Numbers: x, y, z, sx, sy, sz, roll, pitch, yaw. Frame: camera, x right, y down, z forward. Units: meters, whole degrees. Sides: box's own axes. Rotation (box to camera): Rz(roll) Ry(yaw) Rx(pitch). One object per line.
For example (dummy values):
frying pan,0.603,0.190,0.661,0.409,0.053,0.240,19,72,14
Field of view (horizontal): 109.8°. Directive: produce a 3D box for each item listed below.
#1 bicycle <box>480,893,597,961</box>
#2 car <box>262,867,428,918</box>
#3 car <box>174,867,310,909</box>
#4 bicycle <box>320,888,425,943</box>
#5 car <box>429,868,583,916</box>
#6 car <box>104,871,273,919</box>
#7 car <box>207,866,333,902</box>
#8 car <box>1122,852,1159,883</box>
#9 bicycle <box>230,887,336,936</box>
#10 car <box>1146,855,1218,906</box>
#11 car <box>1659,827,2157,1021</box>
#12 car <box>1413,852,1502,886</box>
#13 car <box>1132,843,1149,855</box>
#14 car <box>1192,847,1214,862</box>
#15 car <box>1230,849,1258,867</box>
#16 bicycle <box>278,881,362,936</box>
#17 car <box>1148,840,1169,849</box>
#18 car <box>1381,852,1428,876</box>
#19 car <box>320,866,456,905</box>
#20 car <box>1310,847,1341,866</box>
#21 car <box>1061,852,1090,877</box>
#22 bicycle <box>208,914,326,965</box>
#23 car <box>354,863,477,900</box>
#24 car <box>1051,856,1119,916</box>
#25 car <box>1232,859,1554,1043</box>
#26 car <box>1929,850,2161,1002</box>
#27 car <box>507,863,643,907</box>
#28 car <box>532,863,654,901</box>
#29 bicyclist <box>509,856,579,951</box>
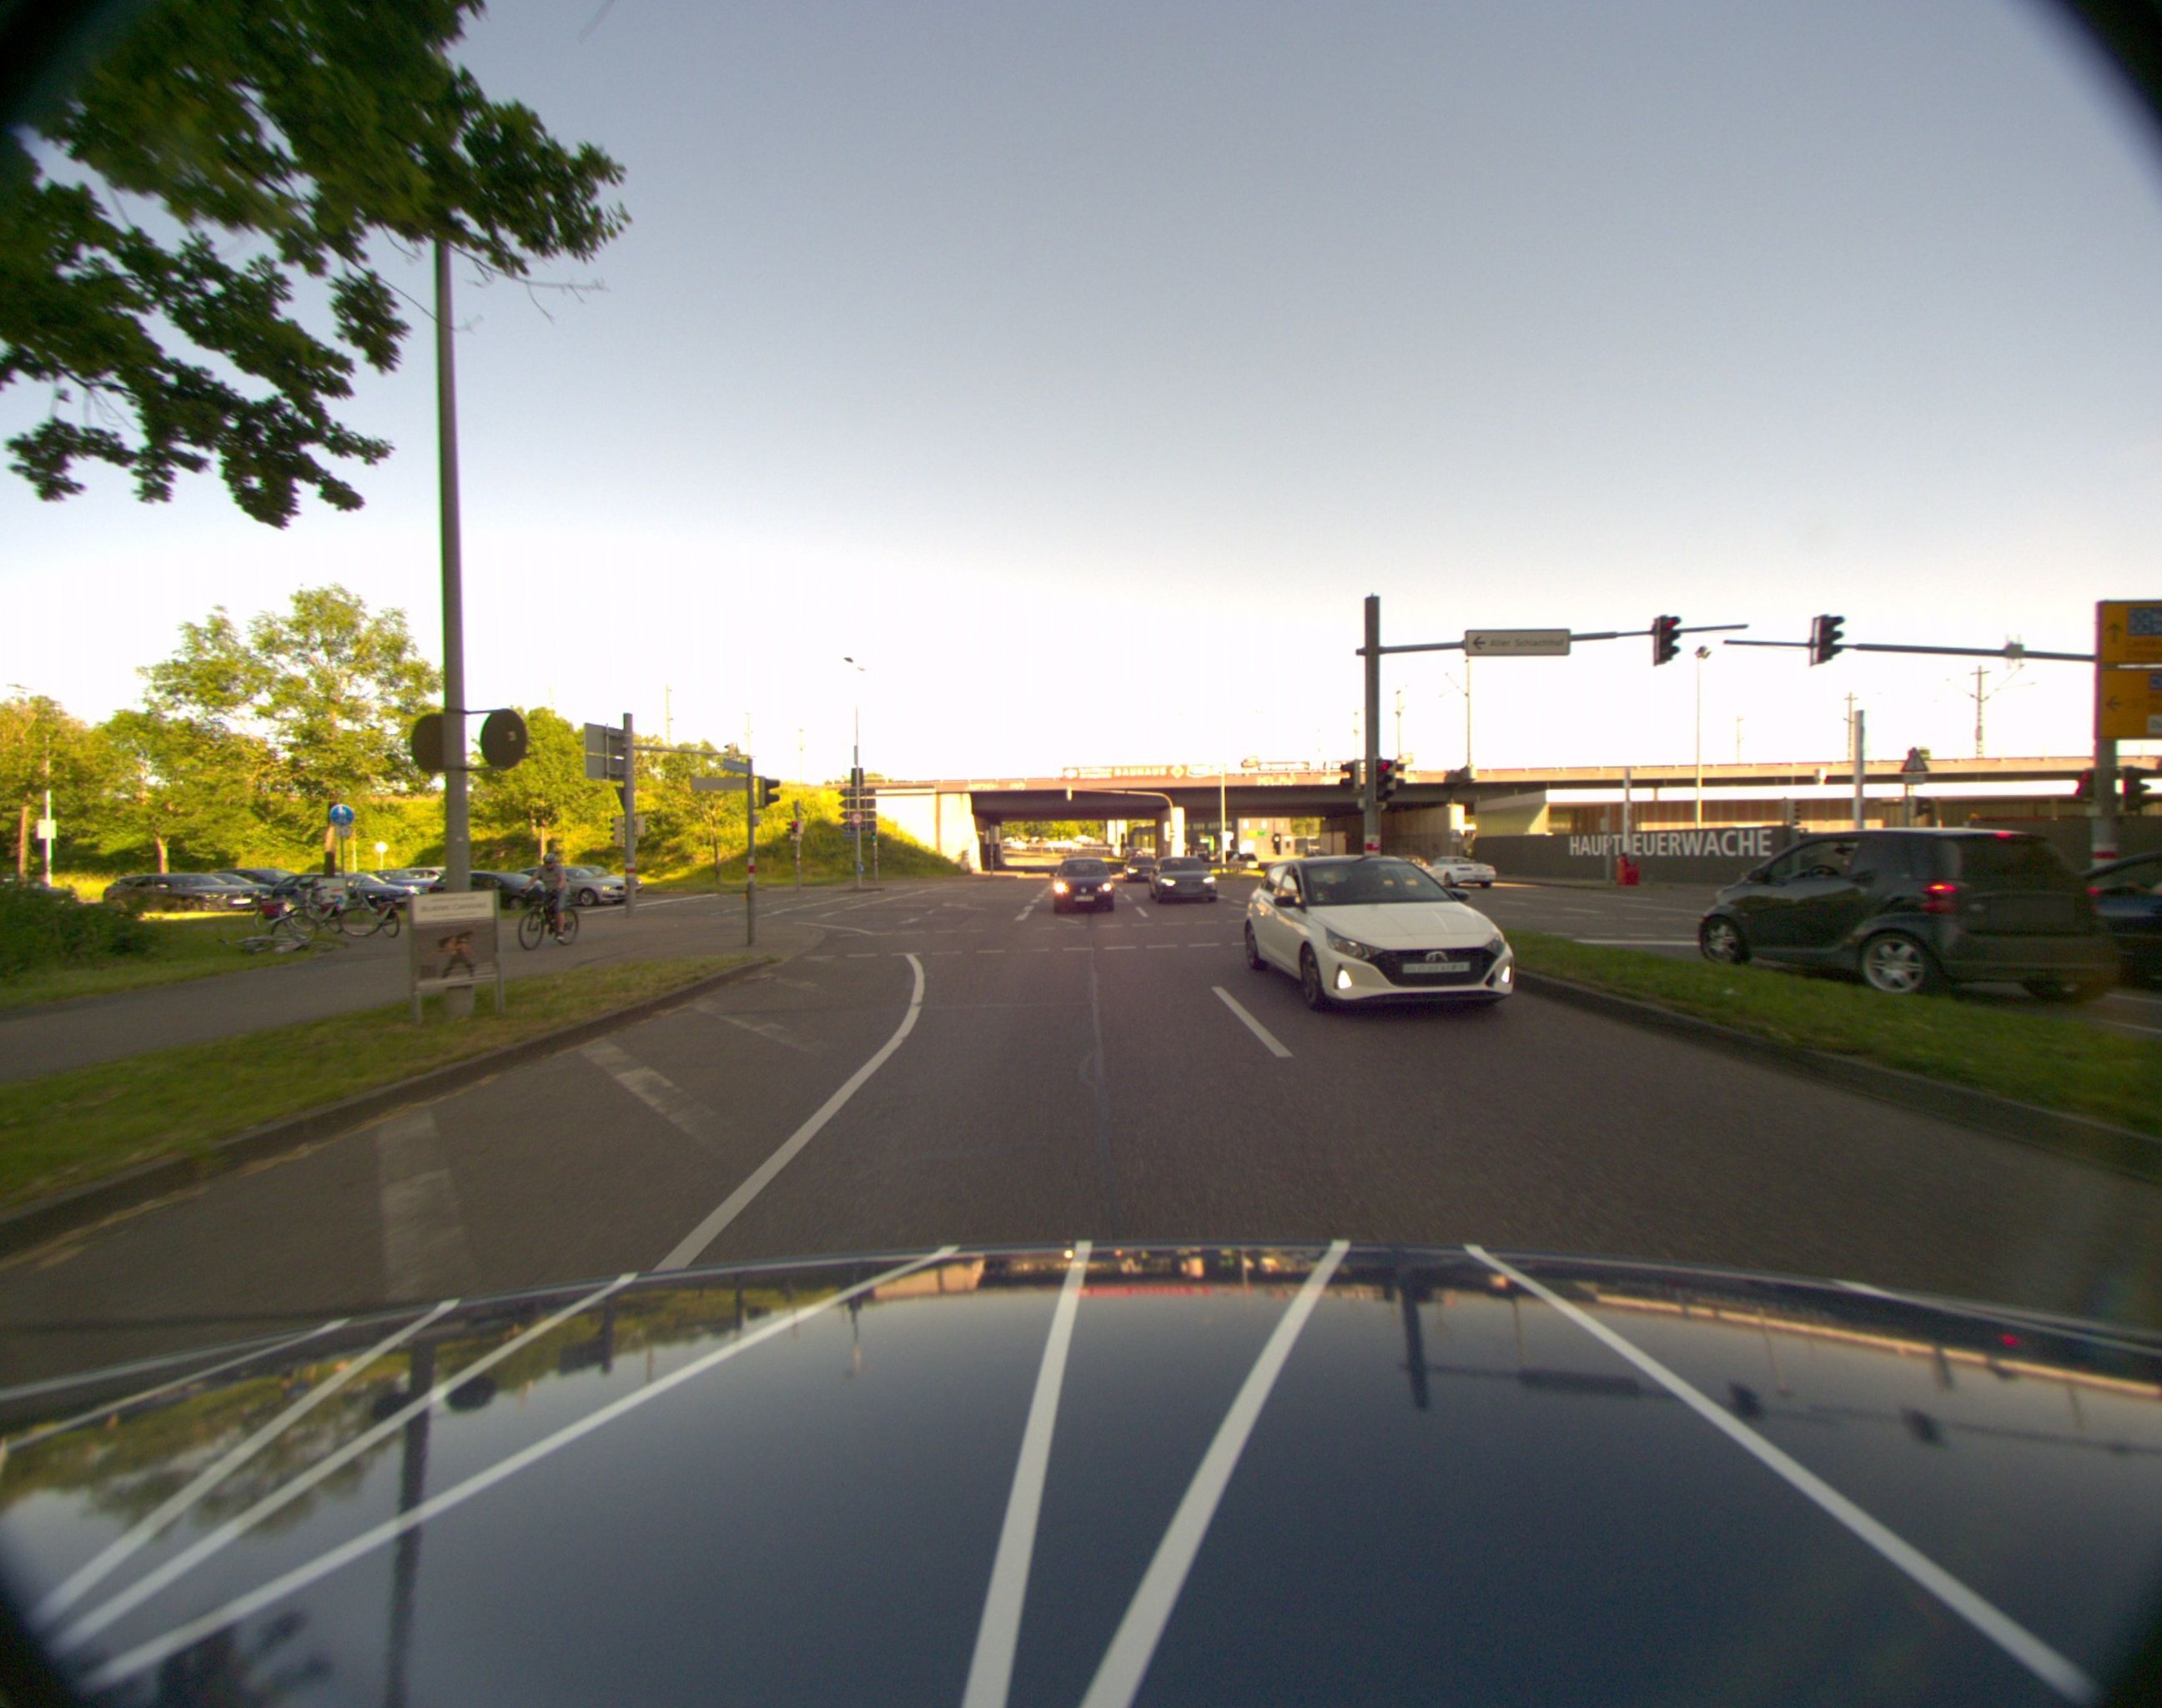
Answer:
bicycle,-9.441,1.237,13.334,0.573,0.986,2.046,-1,0,0
car,-25.831,1.327,26.781,3.916,1.522,1.842,-1,3,-1
car,-33.855,1.364,30.707,3.850,1.522,1.621,-1,3,6
bicycle,-14.086,1.217,15.103,1.992,1.047,0.455,-1,1,13
car,-19.831,1.296,26.325,3.995,1.467,1.805,-1,2,5
car,-31.770,1.440,27.108,4.135,1.522,1.773,-1,3,6
car,-35.393,1.307,33.223,3.874,1.424,1.590,-1,2,4
car,3.165,0.708,41.189,1.702,1.529,3.946,-1,1,0
bicycle,-18.491,1.312,17.616,2.258,1.099,0.700,-1,-2,16
car,3.104,0.764,24.182,1.702,1.396,4.364,-1,1,0
car,7.936,0.552,7.786,1.605,1.571,3.212,0,1,1
car,17.332,0.636,35.225,1.707,1.433,4.880,0,1,0
car,8.872,-0.716,113.245,1.815,1.687,3.997,-2,1,-5
car,13.348,0.062,83.415,1.727,1.531,3.999,1,1,0
car,14.162,0.336,66.206,1.632,1.531,4.000,1,1,1
bicycle,-16.536,1.183,16.516,1.655,1.139,0.455,-1,1,14
car,14.530,-1.801,142.518,3.897,1.645,1.723,-2,1,5
car,19.942,0.607,47.002,1.493,1.403,3.939,0,1,5
car,-26.934,1.195,29.608,3.996,1.352,1.495,-1,2,4
car,20.542,0.200,63.944,1.571,1.524,3.426,-1,0,1
car,-0.324,0.612,47.375,1.702,1.478,3.946,-1,1,0
bicycle,-13.282,1.367,12.481,0.844,0.618,2.190,1,-1,-34
car,-28.817,1.184,32.981,3.996,1.424,1.590,-1,2,4
car,0.109,0.837,21.776,1.702,1.474,4.052,-2,1,0
car,2.963,0.807,8.251,1.782,1.400,4.074,-2,0,0
car,11.057,0.680,7.249,1.707,1.433,3.753,0,0,-1
car,-19.096,1.160,28.774,3.995,1.467,1.817,-1,2,6
car,-20.644,1.167,32.243,3.995,1.424,1.816,-1,2,5
bicyclist,-9.441,0.844,13.392,0.566,1.600,0.865,-1,1,0
